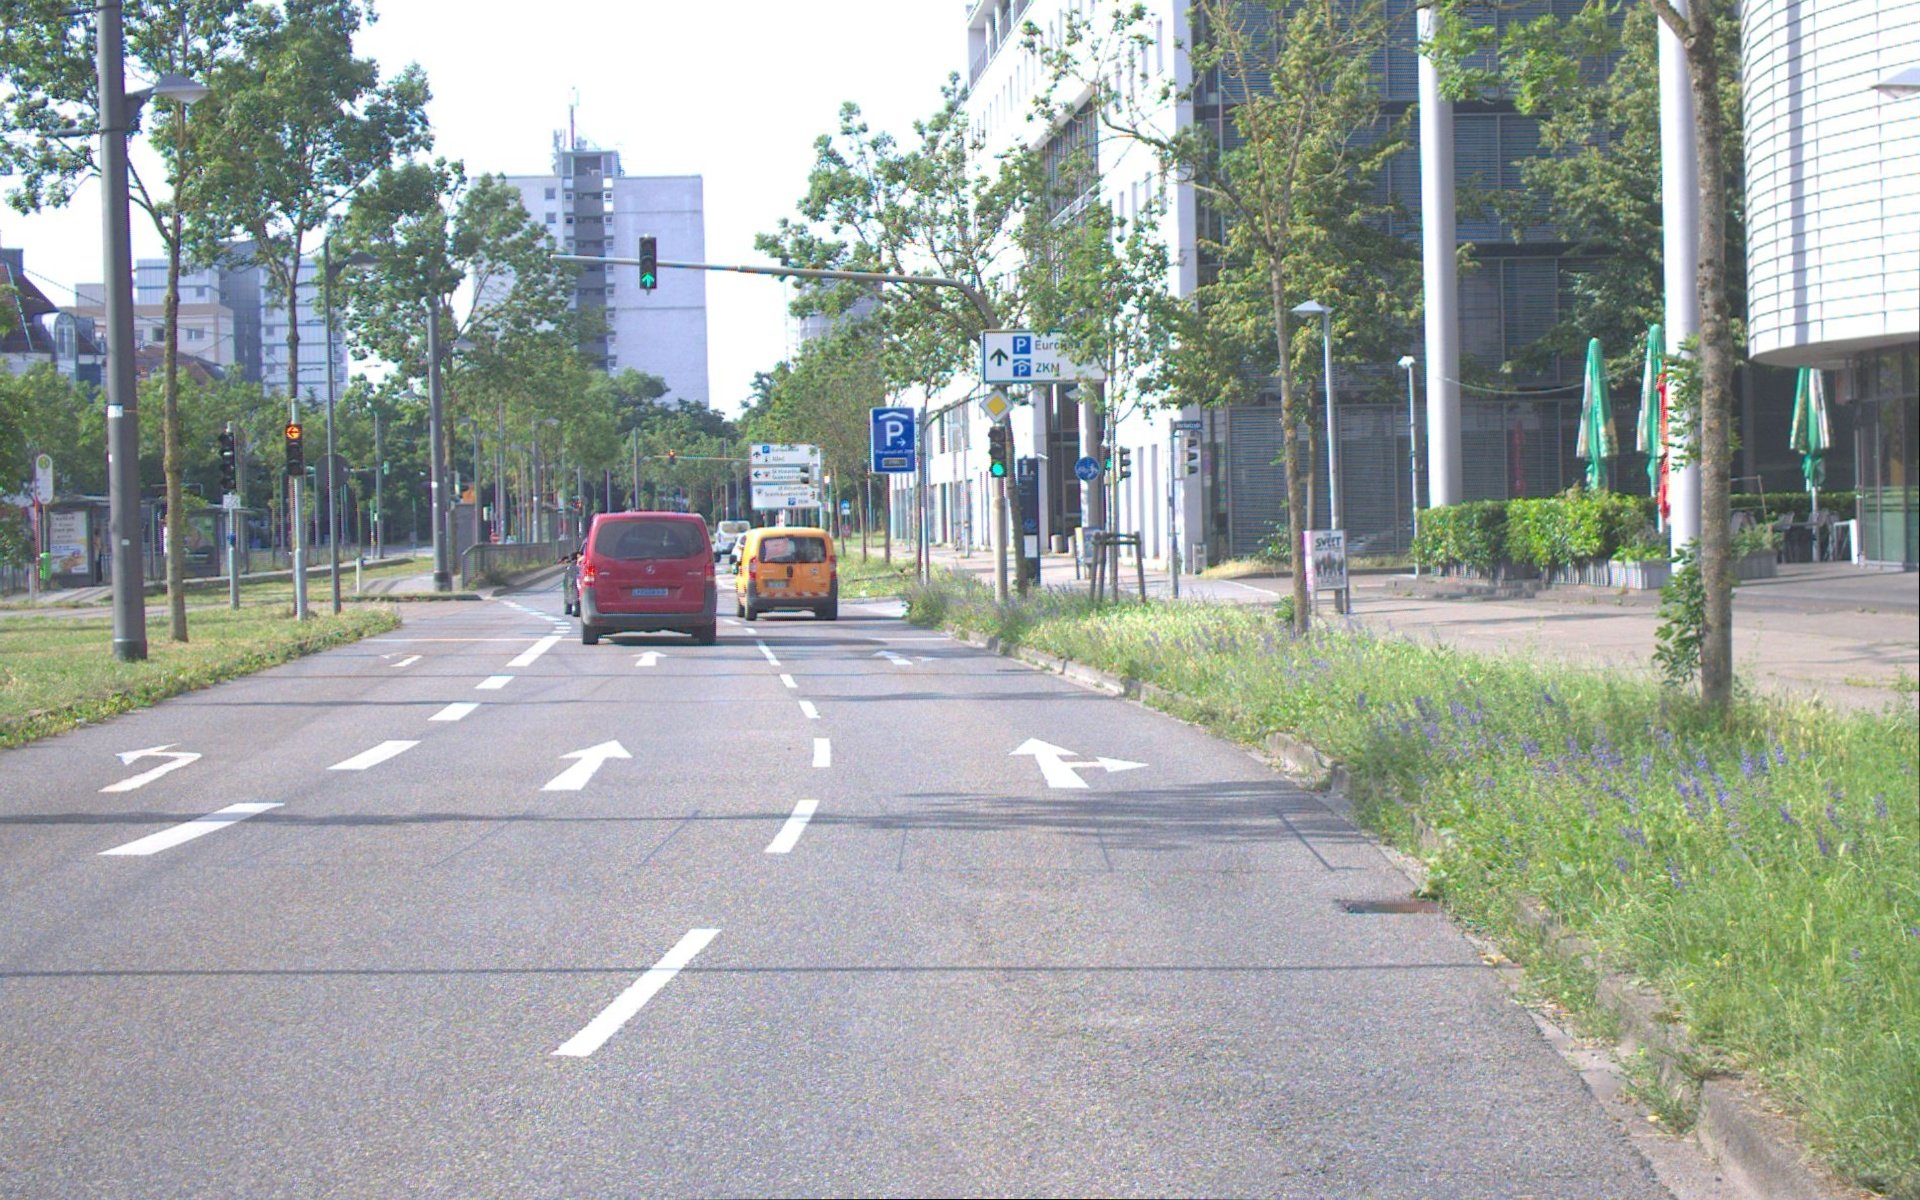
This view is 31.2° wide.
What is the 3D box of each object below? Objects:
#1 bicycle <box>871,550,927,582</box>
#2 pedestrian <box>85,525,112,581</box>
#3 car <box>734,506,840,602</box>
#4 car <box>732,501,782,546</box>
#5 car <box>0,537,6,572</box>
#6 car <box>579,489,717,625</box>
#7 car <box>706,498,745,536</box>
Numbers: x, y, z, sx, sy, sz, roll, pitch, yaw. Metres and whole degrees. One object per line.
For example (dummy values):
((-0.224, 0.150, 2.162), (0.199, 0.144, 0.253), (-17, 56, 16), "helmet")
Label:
((-1.481, -0.826, 84.115), (1.271, 0.630, 0.521), (-7, 1, 3), "bicycle")
((-25.632, -1.404, 102.286), (0.671, 1.647, 0.795), (-1, 1, -9), "pedestrian")
((-3.228, -0.873, 63.584), (1.875, 1.690, 3.974), (-1, 1, -4), "car")
((-7.349, -2.768, 124.173), (1.688, 1.521, 3.851), (-3, 1, -4), "car")
((-42.497, -1.970, 148.133), (1.980, 1.508, 4.282), (1, 1, -5), "car")
((-4.477, -0.635, 49.140), (1.874, 1.847, 4.001), (-1, 1, -6), "car")
((-12.818, -4.549, 187.890), (1.993, 2.006, 4.001), (-2, 2, -5), "car")
